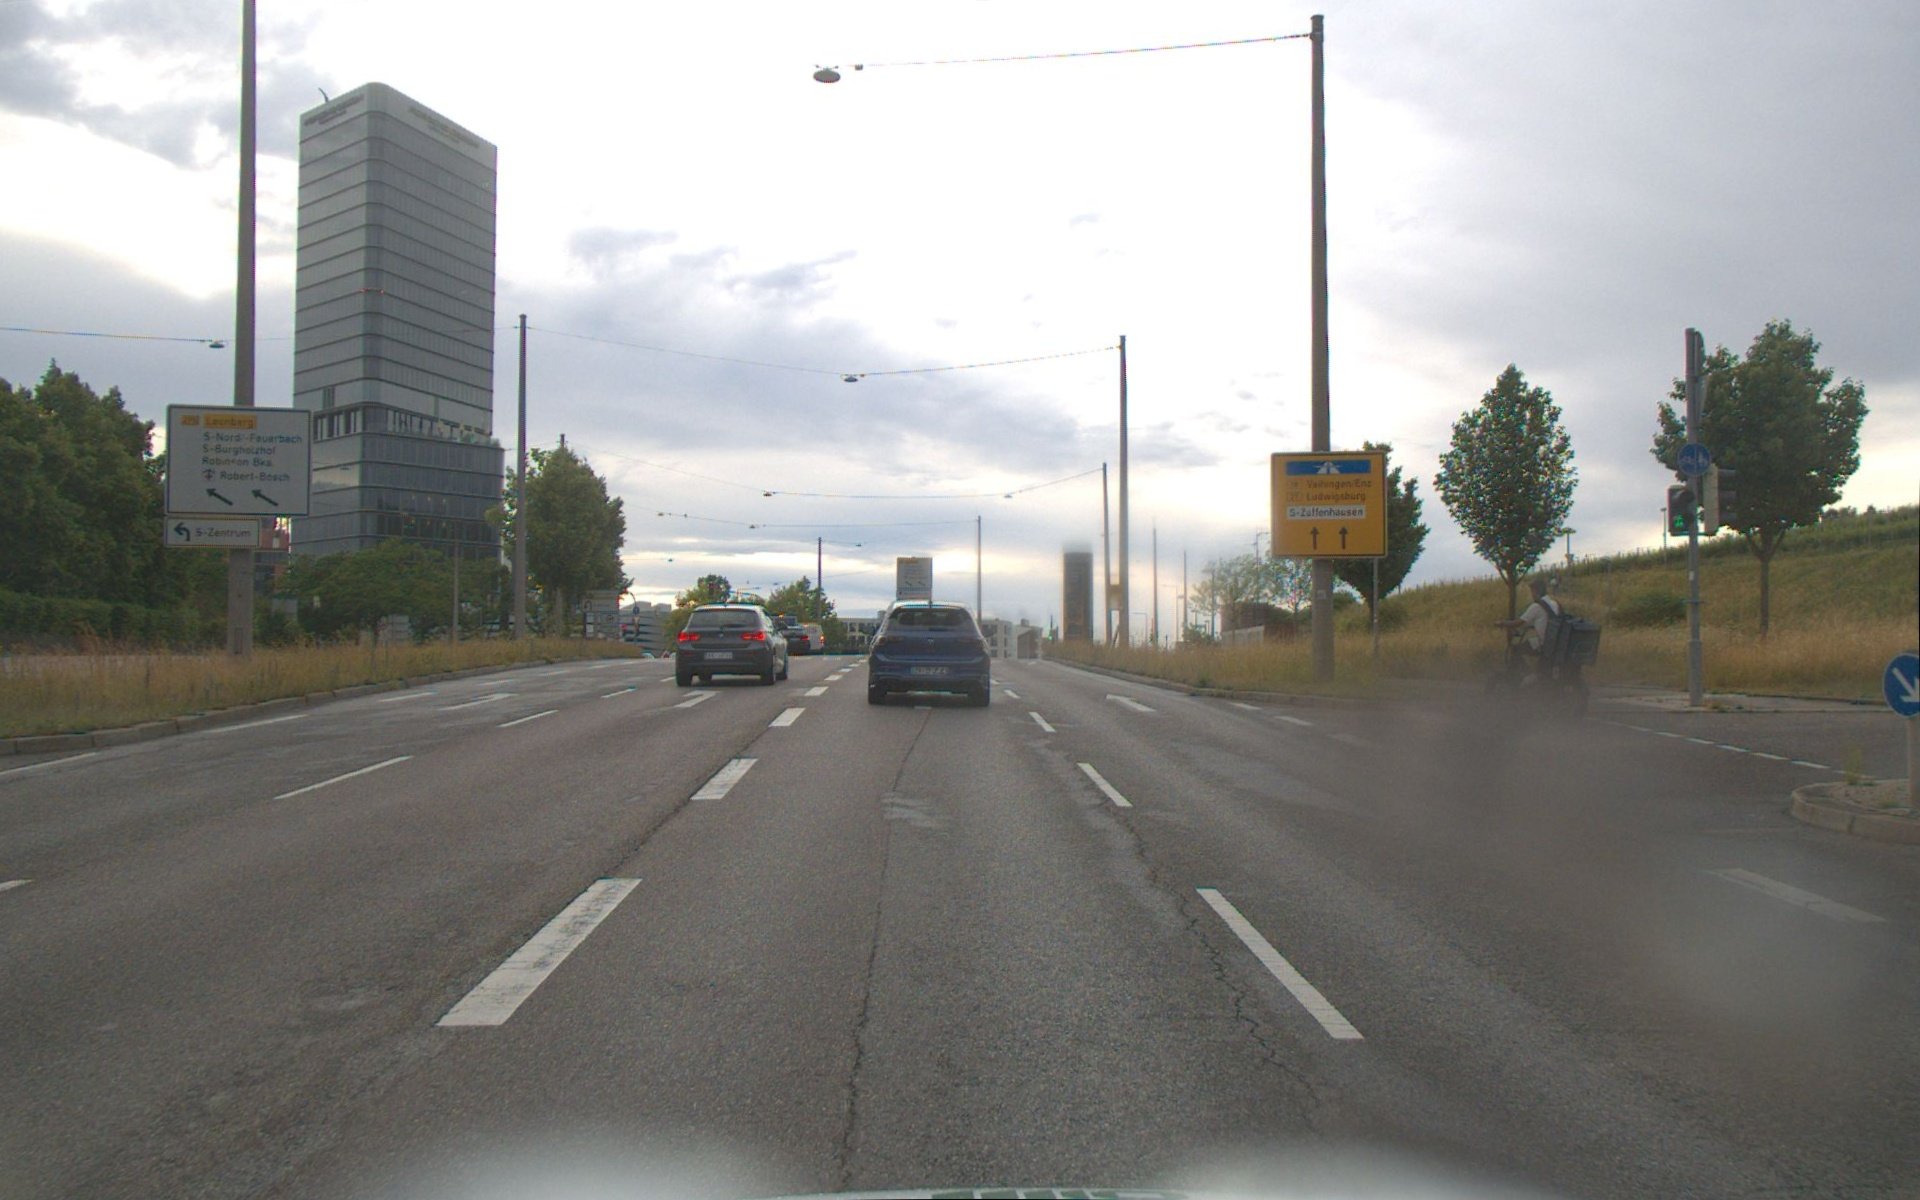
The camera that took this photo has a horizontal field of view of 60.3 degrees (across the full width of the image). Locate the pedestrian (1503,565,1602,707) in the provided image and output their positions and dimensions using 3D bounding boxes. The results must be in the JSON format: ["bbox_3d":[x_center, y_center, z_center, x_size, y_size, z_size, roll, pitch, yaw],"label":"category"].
[{"bbox_3d":[6.949,0.407,19.411,0.623,1.598,0.891,-3,1,-19],"label":"pedestrian"}]

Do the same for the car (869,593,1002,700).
[{"bbox_3d":[-0.341,0.626,24.465,1.800,1.418,4.000,0,0,0],"label":"car"}]

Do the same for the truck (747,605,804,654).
[{"bbox_3d":[-12.864,2.069,114.813,2.625,3.276,6.513,2,-2,-18],"label":"truck"}]

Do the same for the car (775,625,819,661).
[{"bbox_3d":[-8.071,2.108,82.155,1.686,1.568,3.704,2,1,1],"label":"car"}]

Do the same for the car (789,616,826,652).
[{"bbox_3d":[-9.101,2.060,98.578,1.869,2.008,5.081,-1,-2,-9],"label":"car"}]

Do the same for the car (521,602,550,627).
[{"bbox_3d":[-29.842,1.022,116.256,1.861,1.687,4.587,1,-1,-15],"label":"car"}]

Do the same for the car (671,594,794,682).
[{"bbox_3d":[-4.119,0.647,30.489,1.831,1.487,3.975,0,1,-2],"label":"car"}]

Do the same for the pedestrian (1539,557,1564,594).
[{"bbox_3d":[33.512,-1.370,93.720,0.772,2.049,1.043,-1,0,-34],"label":"pedestrian"}]

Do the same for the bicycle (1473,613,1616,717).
[{"bbox_3d":[6.876,0.738,19.548,0.623,1.124,1.744,-3,1,-18],"label":"bicycle"}]
